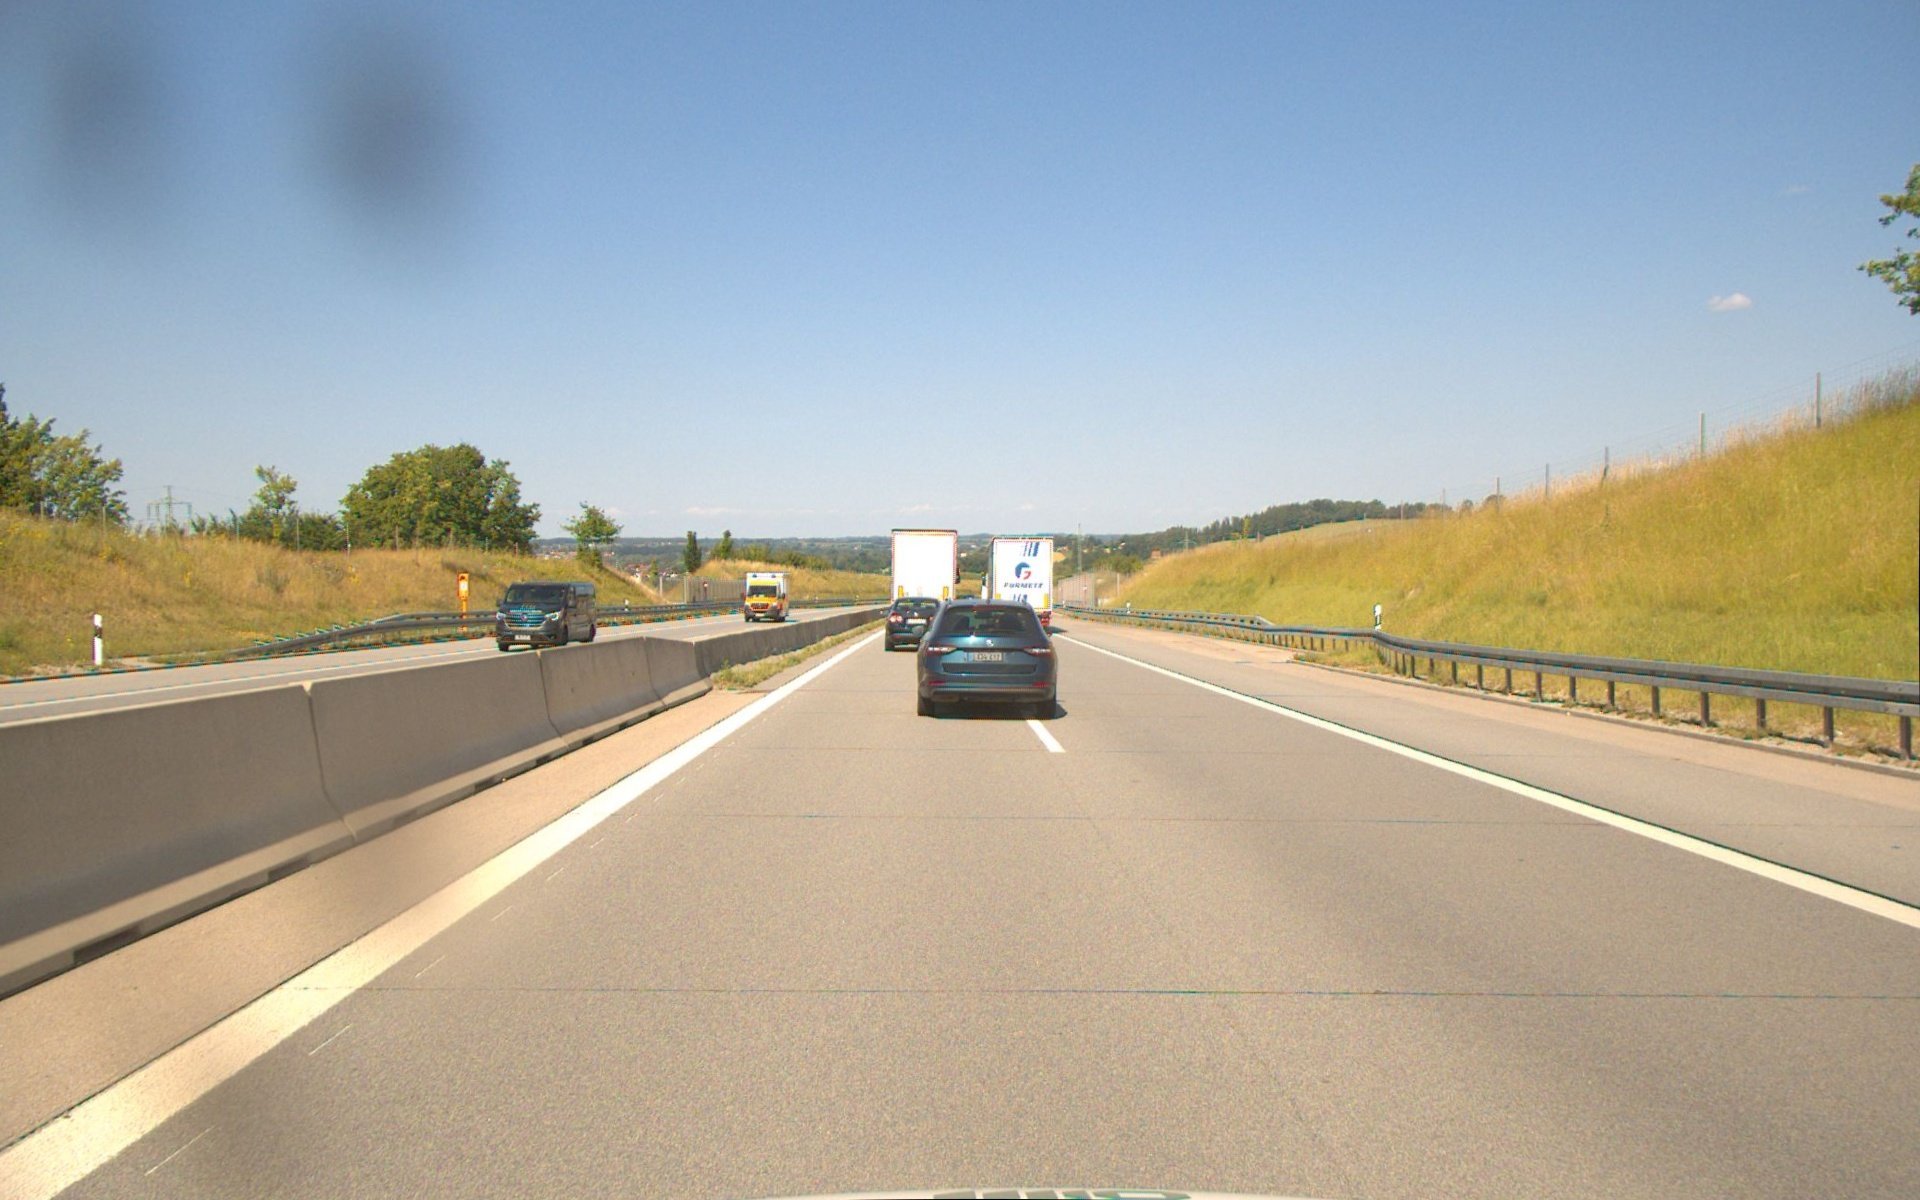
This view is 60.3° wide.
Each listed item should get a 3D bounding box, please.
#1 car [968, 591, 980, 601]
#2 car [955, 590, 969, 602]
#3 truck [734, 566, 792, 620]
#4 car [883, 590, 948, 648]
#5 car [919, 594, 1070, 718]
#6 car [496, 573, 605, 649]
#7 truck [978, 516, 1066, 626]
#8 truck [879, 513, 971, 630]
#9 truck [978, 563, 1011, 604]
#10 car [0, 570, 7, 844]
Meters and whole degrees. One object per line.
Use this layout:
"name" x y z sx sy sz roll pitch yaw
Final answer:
"car" 2.077 -0.575 247.126 1.665 1.466 4.000 0 0 0
"car" 0.239 -0.538 205.735 1.665 1.466 4.000 0 0 0
"truck" -11.612 -0.401 98.046 2.718 3.074 6.791 0 0 -1
"car" -1.249 0.495 45.719 1.666 1.466 3.998 -2 0 -2
"car" 0.370 0.662 21.642 1.741 1.466 3.787 0 0 -2
"car" -11.766 0.284 47.820 1.953 2.049 4.969 1 0 -1
"truck" 2.708 -1.254 74.826 3.530 4.457 11.235 -2 0 1
"truck" -1.322 -1.144 69.891 3.144 4.457 11.236 -2 0 2
"truck" 3.936 -1.873 188.662 3.530 4.457 11.235 -2 0 1
"car" -7.075 0.688 8.214 1.892 1.762 4.885 1 0 -1
